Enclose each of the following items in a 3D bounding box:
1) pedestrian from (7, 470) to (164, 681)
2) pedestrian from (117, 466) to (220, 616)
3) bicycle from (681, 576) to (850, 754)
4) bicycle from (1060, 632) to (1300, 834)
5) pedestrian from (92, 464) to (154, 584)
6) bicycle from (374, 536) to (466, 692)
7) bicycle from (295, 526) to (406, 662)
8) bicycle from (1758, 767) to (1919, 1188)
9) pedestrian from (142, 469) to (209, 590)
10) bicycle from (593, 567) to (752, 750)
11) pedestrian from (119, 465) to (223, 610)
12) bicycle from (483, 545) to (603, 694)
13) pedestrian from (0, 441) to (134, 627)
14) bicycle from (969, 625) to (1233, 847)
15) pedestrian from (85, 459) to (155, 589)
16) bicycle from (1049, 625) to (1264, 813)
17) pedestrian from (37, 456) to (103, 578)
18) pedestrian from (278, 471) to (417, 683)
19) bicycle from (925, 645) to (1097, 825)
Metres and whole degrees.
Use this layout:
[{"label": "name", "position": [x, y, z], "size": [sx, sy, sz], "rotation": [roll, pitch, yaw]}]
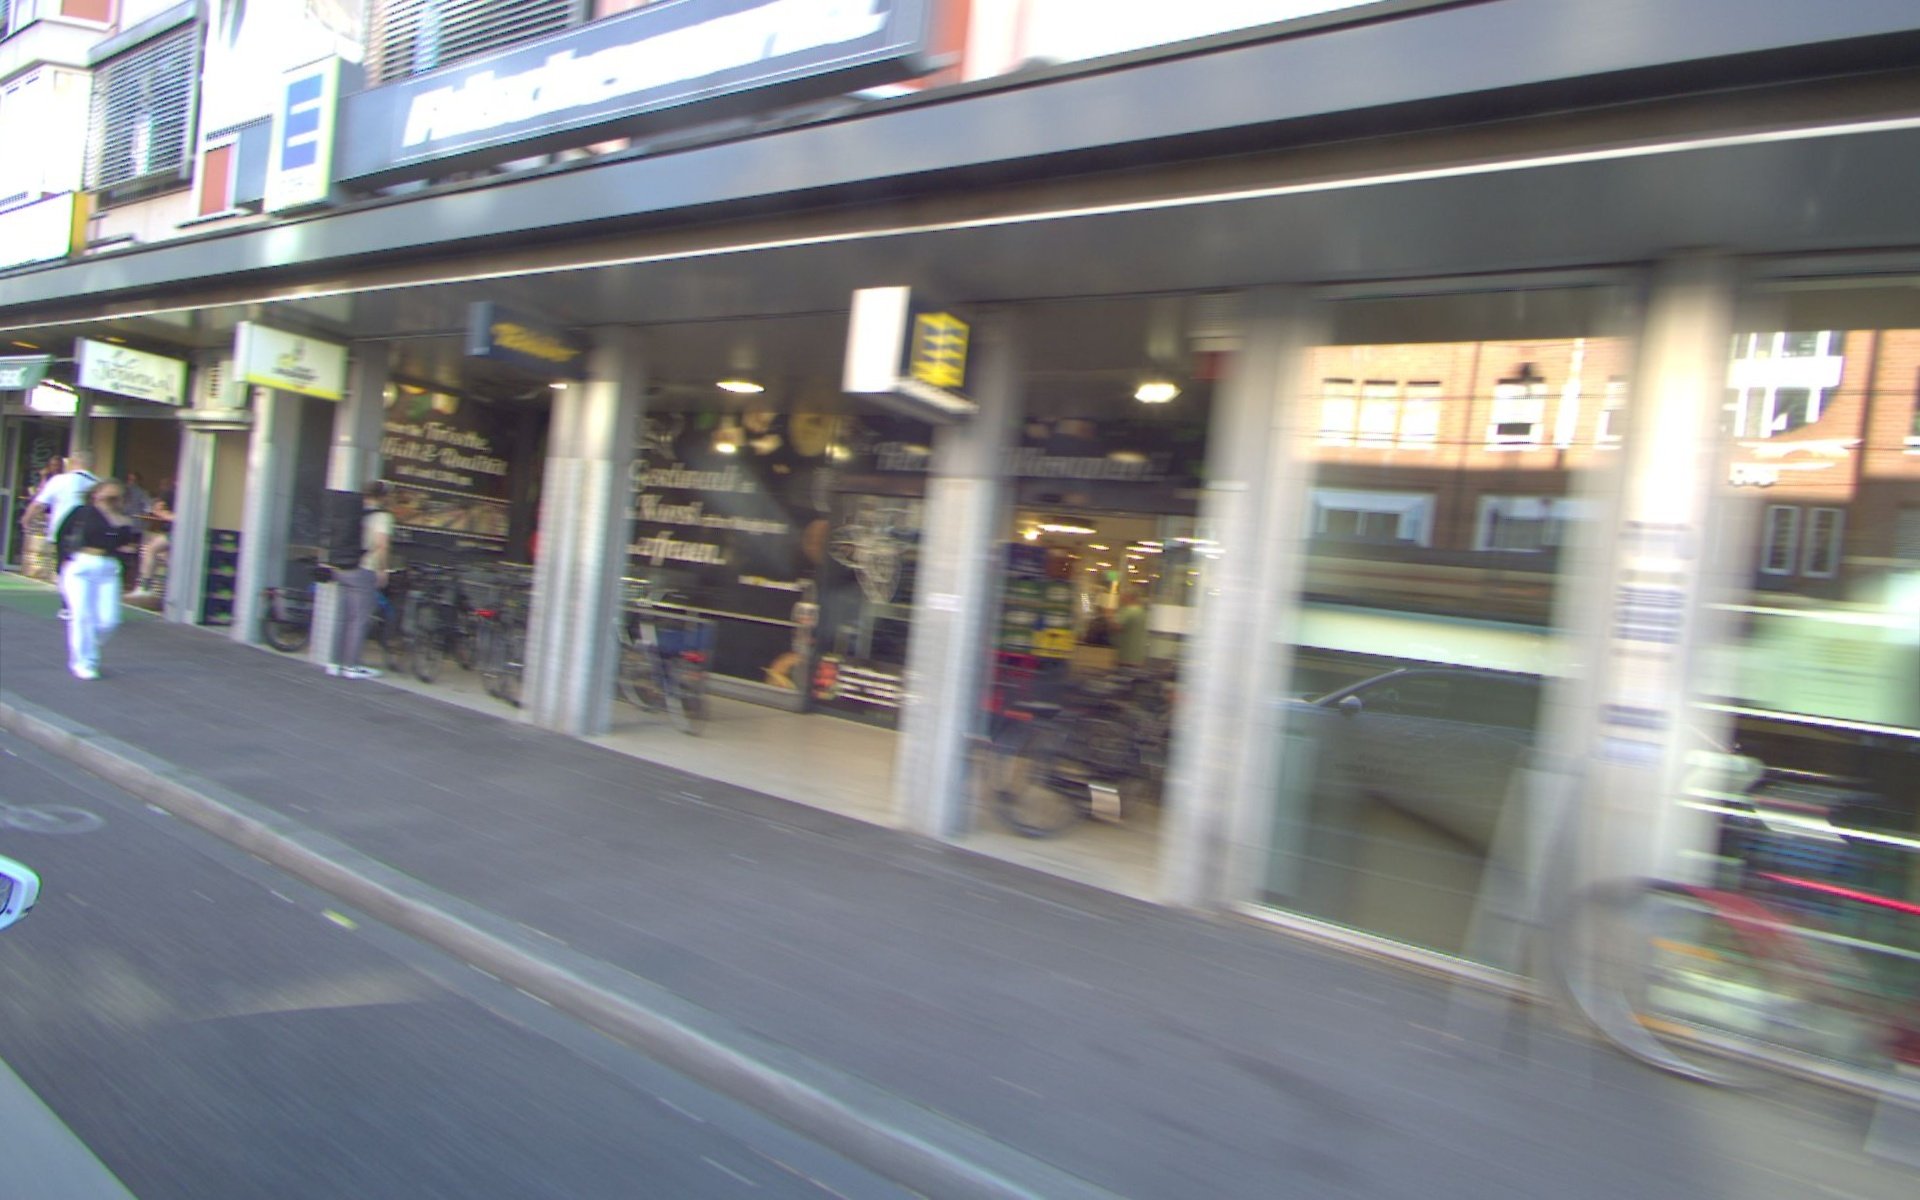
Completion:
[{"label": "pedestrian", "position": [-6.928, -0.200, 7.974], "size": [0.775, 1.542, 0.665], "rotation": [8, 4, 28]}, {"label": "pedestrian", "position": [-9.264, -0.682, 11.782], "size": [0.628, 1.658, 0.726], "rotation": [8, 4, 33]}, {"label": "bicycle", "position": [-1.737, 0.501, 8.673], "size": [0.551, 1.252, 2.064], "rotation": [6, 1, -34]}, {"label": "bicycle", "position": [1.522, 0.920, 7.007], "size": [1.457, 1.215, 0.421], "rotation": [7, 2, -11]}, {"label": "pedestrian", "position": [-11.892, -1.072, 14.289], "size": [0.457, 1.624, 0.456], "rotation": [8, 2, 34]}, {"label": "bicycle", "position": [-5.155, 0.078, 9.539], "size": [0.466, 1.267, 2.064], "rotation": [6, 1, -34]}, {"label": "bicycle", "position": [-6.190, -0.071, 10.280], "size": [0.403, 1.252, 1.382], "rotation": [6, 1, -11]}, {"label": "bicycle", "position": [3.332, 1.210, 2.942], "size": [1.382, 1.142, 0.516], "rotation": [8, 2, 31]}, {"label": "pedestrian", "position": [-11.141, -0.993, 14.294], "size": [0.533, 1.627, 0.519], "rotation": [8, 2, 37]}, {"label": "bicycle", "position": [-2.460, 0.426, 8.405], "size": [0.551, 1.252, 2.064], "rotation": [6, 1, -34]}, {"label": "pedestrian", "position": [-9.809, -0.763, 12.517], "size": [0.684, 1.698, 0.772], "rotation": [8, 4, 32]}, {"label": "bicycle", "position": [-4.218, 0.145, 10.075], "size": [0.571, 1.269, 2.096], "rotation": [7, 0, -34]}, {"label": "pedestrian", "position": [-9.415, -0.684, 10.498], "size": [1.032, 1.800, 0.906], "rotation": [8, 4, 32]}, {"label": "bicycle", "position": [0.877, 0.846, 6.172], "size": [1.463, 1.215, 0.479], "rotation": [6, 2, -26]}, {"label": "pedestrian", "position": [-11.335, -1.021, 13.575], "size": [0.513, 1.654, 0.516], "rotation": [8, 2, 37]}, {"label": "bicycle", "position": [1.487, 0.888, 7.746], "size": [1.453, 1.215, 0.422], "rotation": [7, 2, 8]}, {"label": "pedestrian", "position": [-12.468, -1.153, 14.087], "size": [0.521, 1.624, 0.456], "rotation": [8, 2, 32]}, {"label": "pedestrian", "position": [-5.426, -0.207, 8.941], "size": [0.580, 1.745, 0.788], "rotation": [7, 4, 14]}, {"label": "bicycle", "position": [0.397, 0.881, 6.929], "size": [0.427, 1.054, 1.512], "rotation": [9, 1, 29]}]
